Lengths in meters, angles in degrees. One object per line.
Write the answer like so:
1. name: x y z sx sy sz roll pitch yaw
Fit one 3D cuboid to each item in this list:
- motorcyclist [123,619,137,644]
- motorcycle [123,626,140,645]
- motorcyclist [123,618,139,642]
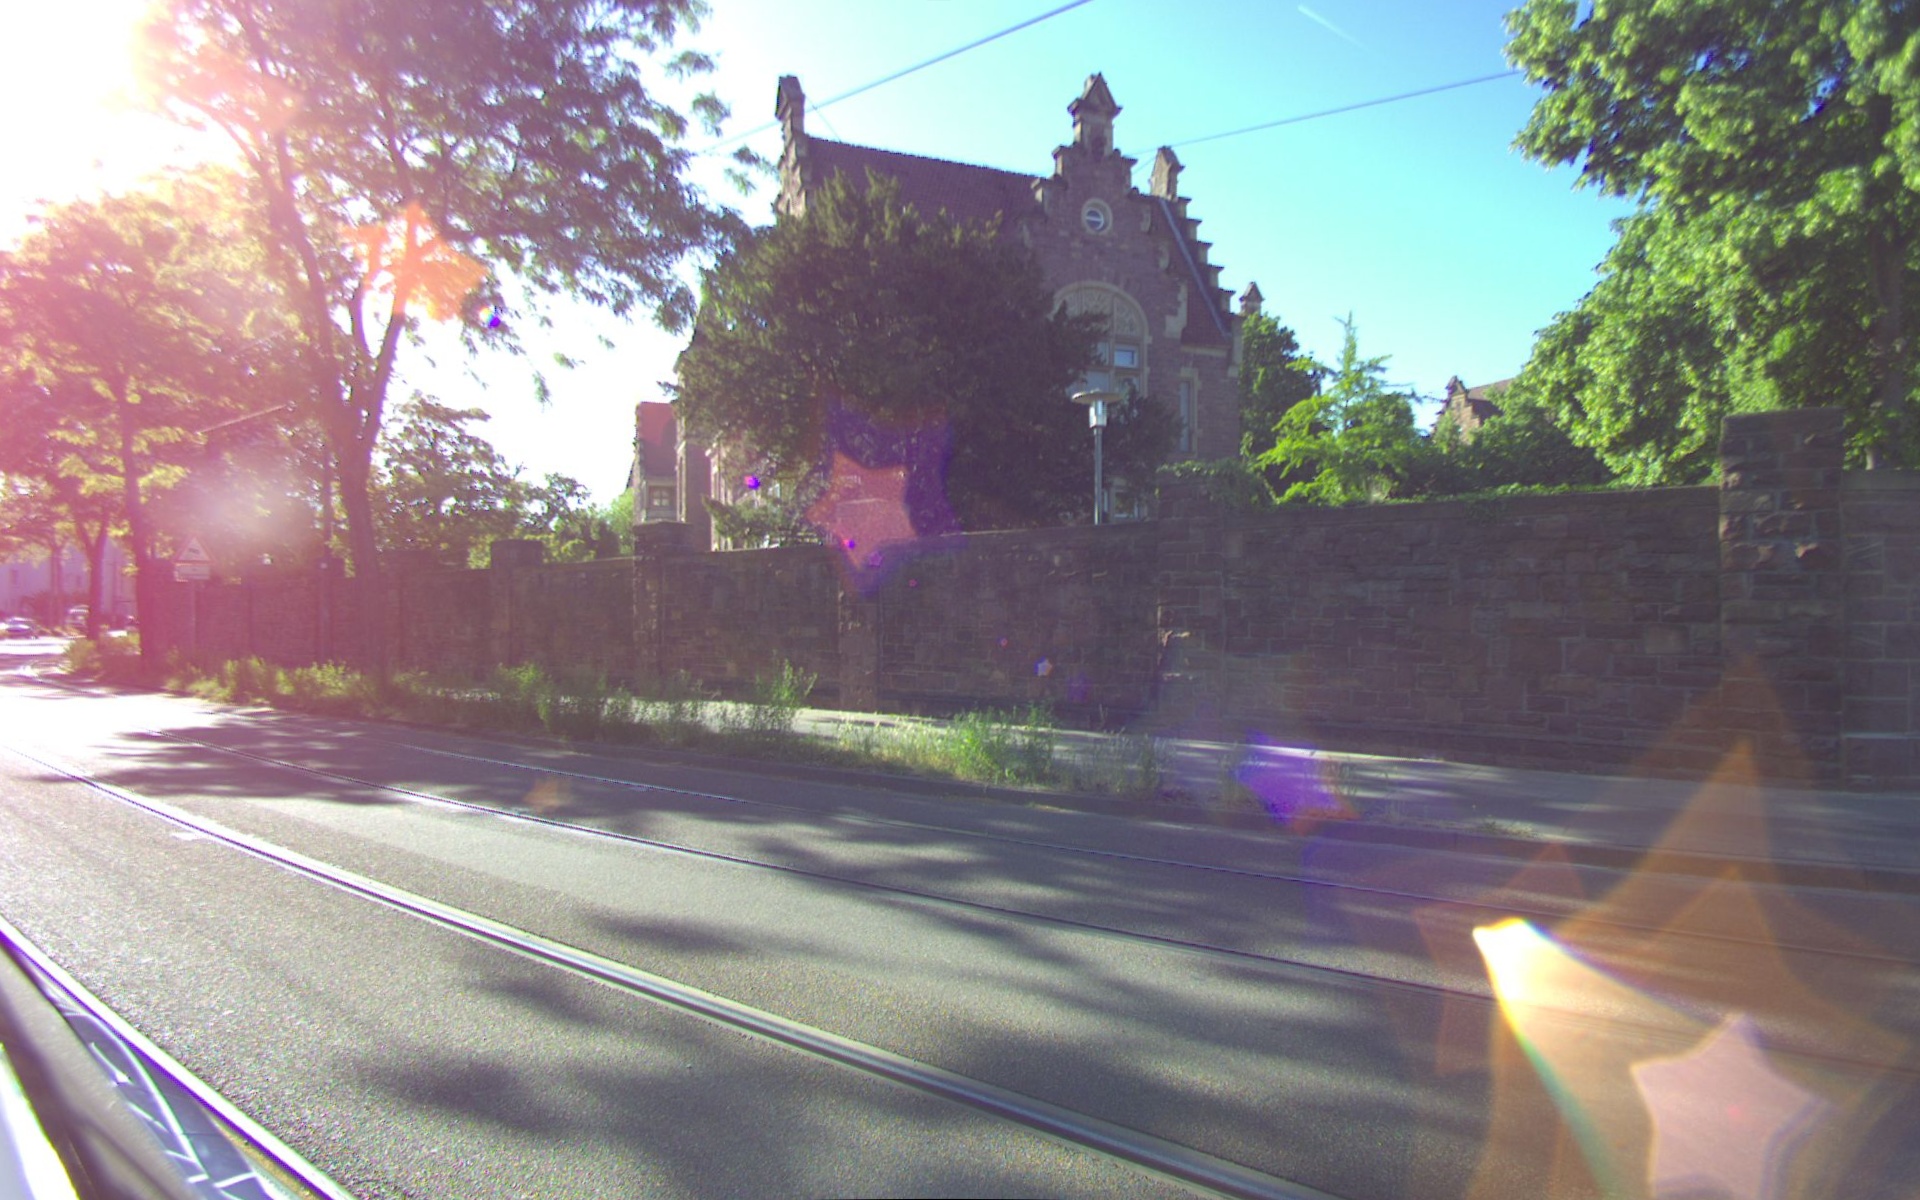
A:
1. motorcyclist: -50.779 1.907 61.904 0.598 1.527 0.467 0 -1 -32
2. motorcycle: -51.032 2.170 62.325 0.601 1.101 1.861 0 -1 -32
3. motorcyclist: -51.057 1.837 62.323 0.674 1.451 0.448 0 -1 -32
